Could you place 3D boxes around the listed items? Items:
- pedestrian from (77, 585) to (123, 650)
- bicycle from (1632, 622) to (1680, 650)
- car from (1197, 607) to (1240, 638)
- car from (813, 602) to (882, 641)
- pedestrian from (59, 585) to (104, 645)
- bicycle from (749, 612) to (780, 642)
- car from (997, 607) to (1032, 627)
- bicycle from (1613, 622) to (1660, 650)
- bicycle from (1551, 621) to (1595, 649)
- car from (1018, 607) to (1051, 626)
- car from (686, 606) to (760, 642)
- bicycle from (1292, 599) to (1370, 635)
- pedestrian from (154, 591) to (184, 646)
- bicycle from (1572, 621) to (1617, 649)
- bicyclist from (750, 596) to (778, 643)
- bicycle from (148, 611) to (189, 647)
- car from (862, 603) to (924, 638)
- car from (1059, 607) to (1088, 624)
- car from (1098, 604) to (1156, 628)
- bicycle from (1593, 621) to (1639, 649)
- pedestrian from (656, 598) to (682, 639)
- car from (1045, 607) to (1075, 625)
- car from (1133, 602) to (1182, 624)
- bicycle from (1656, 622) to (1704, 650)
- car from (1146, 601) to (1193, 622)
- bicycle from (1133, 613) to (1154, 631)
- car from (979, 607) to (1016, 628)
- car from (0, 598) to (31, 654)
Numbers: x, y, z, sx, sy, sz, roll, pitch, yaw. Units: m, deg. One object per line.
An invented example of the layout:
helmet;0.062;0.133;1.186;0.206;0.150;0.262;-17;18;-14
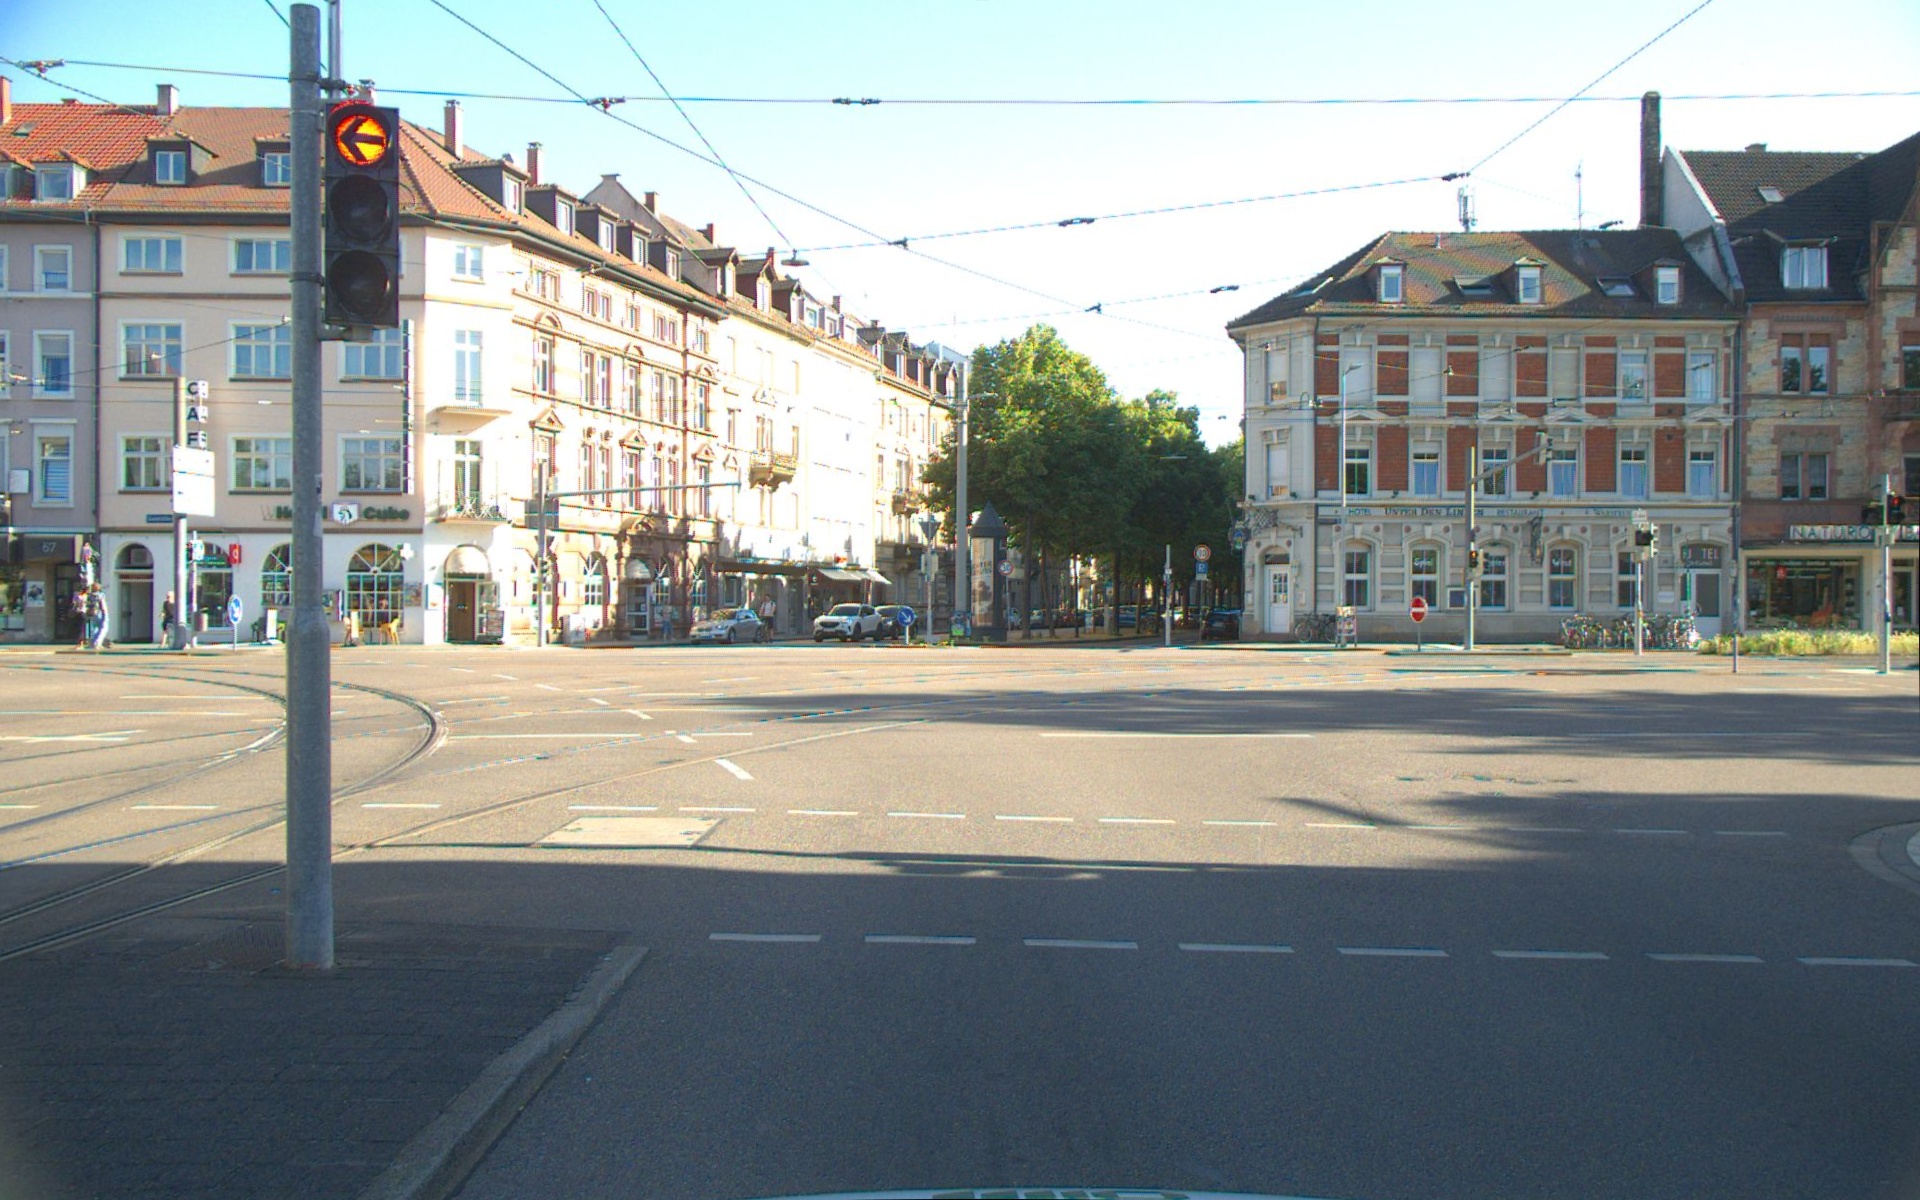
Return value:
pedestrian;-21.387;0.438;41.133;0.539;1.605;0.832;1;-1;27
bicycle;22.492;1.156;53.466;0.645;0.855;2.160;1;0;1
car;12.962;1.109;82.735;1.642;1.509;3.950;0;0;16
car;-4.533;0.844;67.214;1.642;1.509;3.774;0;0;16
pedestrian;-24.008;0.411;45.204;0.710;1.605;0.834;1;-1;9
bicycle;-7.679;1.047;65.115;0.687;1.137;1.636;1;0;13
car;3.829;1.163;115.502;1.642;1.378;3.593;0;0;16
bicycle;21.864;1.146;53.487;0.645;0.855;2.160;1;0;1
bicycle;19.762;1.109;53.353;0.645;0.855;2.160;1;0;1
car;5.541;1.218;122.488;1.642;1.378;3.593;0;0;16
car;-9.538;0.934;66.733;1.642;1.378;3.593;0;0;16
bicycle;12.868;0.590;57.443;2.504;1.194;0.818;1;-1;-4
pedestrian;-24.803;0.588;51.873;0.570;1.699;0.752;1;-1;-1
bicycle;20.481;1.122;53.440;0.645;0.855;2.160;1;0;1
bicyclist;-7.712;0.767;64.992;0.761;1.834;1.056;1;-1;13
bicycle;-24.807;0.895;51.840;0.561;1.096;1.497;1;0;-1
car;-2.945;0.888;73.539;1.642;1.509;3.950;0;0;16
car;9.326;1.257;135.882;1.642;1.378;3.593;0;0;16
car;11.722;1.121;115.820;3.819;1.677;1.684;0;0;16
bicycle;21.193;1.134;53.453;0.645;0.855;2.160;1;0;1
pedestrian;-12.135;0.763;69.023;0.759;1.699;0.831;1;-1;15
car;7.901;1.220;130.830;1.642;1.378;3.593;0;0;16
car;15.328;0.965;128.232;3.503;1.677;1.684;0;0;16
bicycle;23.280;1.170;53.512;0.645;0.855;2.160;1;0;1
car;16.951;0.891;133.732;3.503;1.677;1.684;0;0;16
bicycle;11.057;1.299;99.613;0.625;1.039;1.840;1;0;-14
car;2.571;1.143;111.326;1.642;1.378;3.593;0;0;16
car;-32.151;0.788;52.248;4.276;1.741;2.306;1;0;1
